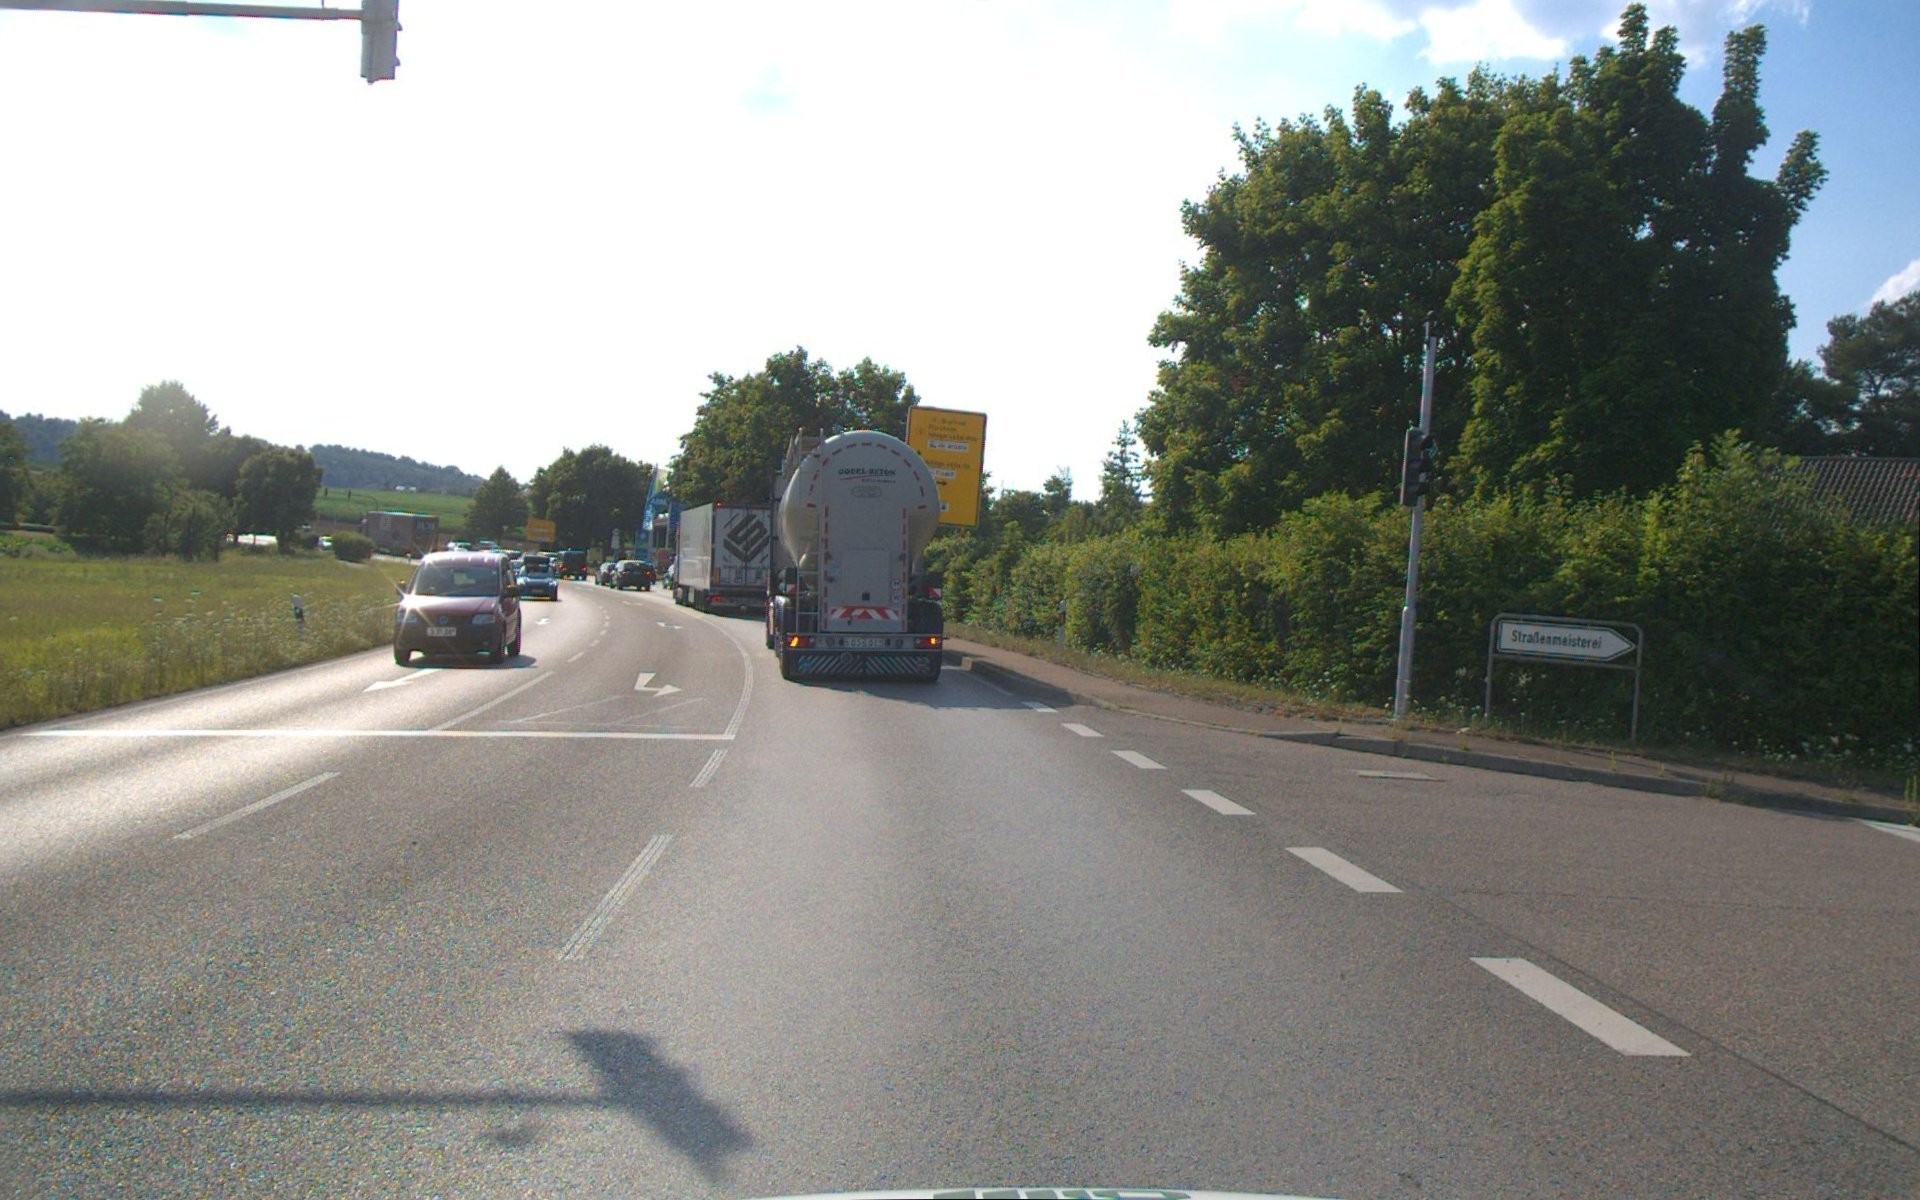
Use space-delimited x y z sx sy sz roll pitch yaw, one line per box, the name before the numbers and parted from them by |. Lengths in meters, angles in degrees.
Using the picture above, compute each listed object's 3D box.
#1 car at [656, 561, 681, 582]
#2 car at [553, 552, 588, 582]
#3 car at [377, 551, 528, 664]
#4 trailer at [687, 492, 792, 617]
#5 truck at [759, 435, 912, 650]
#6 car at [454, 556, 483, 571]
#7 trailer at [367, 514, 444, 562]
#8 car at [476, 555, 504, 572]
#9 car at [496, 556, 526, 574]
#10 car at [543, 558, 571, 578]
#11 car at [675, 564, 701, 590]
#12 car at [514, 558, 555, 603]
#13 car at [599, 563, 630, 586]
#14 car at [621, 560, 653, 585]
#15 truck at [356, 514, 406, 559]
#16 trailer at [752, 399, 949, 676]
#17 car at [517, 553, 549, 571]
car | -20.718 -2.027 117.529 1.645 1.364 3.416 3 1 -12
car | -28.133 -2.406 119.274 1.836 2.048 3.693 1 1 -23
car | -8.666 0.078 28.582 1.845 1.806 4.314 0 1 -8
trailer | -9.097 -1.819 66.767 2.903 4.390 14.133 3 1 -12
truck | -2.583 -1.134 34.006 2.853 4.076 4.055 1 1 -6
car | -45.038 -3.352 151.484 1.750 1.226 3.392 2 1 -30
trailer | -55.906 -6.319 166.499 3.348 4.425 14.118 2 1 -35
car | -41.408 -3.192 145.579 1.563 1.364 3.392 2 1 -30
car | -37.537 -2.925 138.218 1.563 1.364 3.392 2 1 -30
car | -30.774 -2.457 126.271 1.397 1.457 3.121 1 0 -26
car | -16.949 -1.439 102.844 1.396 1.534 3.416 3 1 -12
car | -18.897 -0.892 73.367 1.696 1.915 4.318 0 1 -15
car | -22.156 -1.656 105.978 1.556 1.364 3.409 3 1 -18
car | -19.192 -1.650 98.154 1.554 1.364 3.411 3 1 -16
truck | -60.660 -6.649 173.263 3.348 4.425 5.635 2 1 -36
trailer | -2.142 -1.015 29.800 2.853 4.076 9.918 1 1 -6
car | -34.252 -3.059 132.654 1.563 1.364 3.392 2 1 -30
